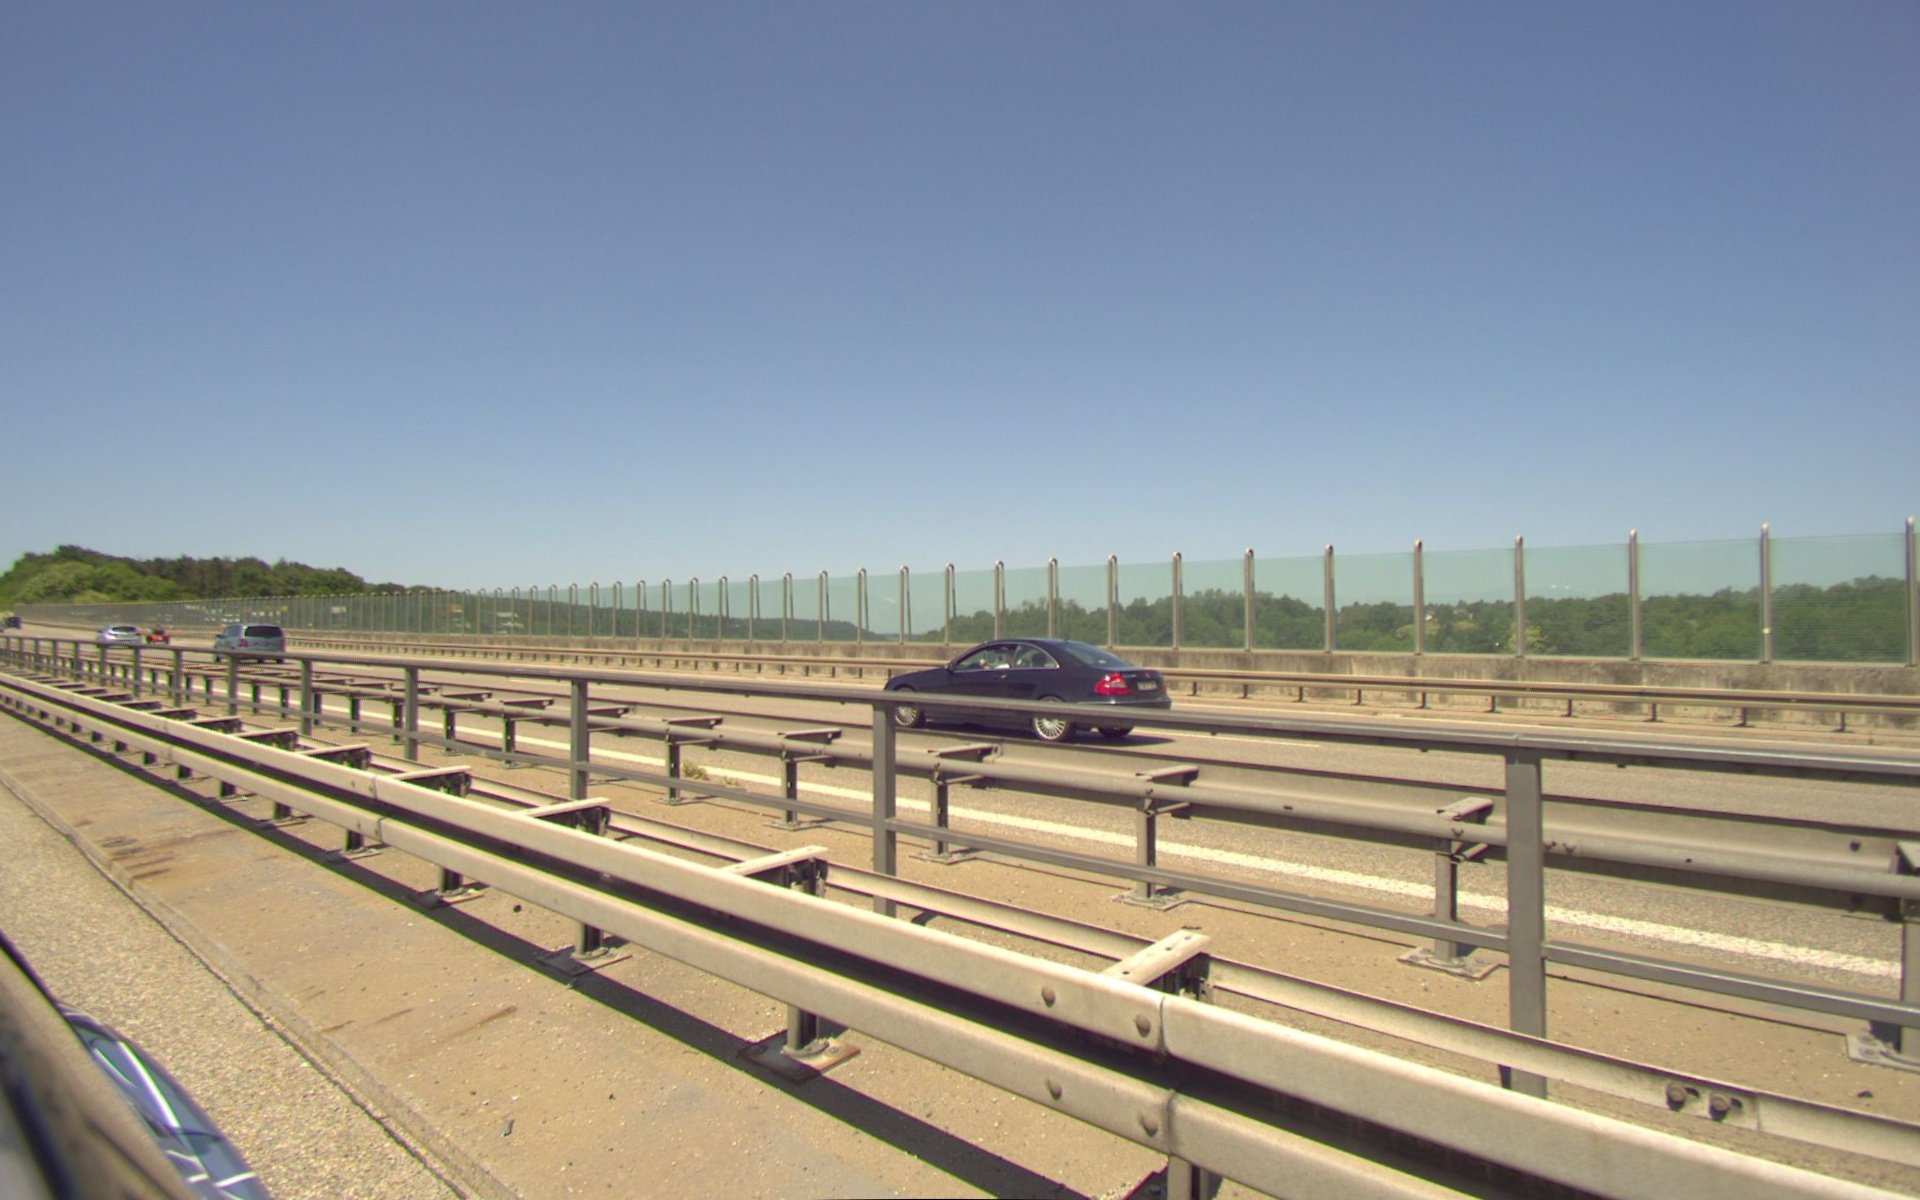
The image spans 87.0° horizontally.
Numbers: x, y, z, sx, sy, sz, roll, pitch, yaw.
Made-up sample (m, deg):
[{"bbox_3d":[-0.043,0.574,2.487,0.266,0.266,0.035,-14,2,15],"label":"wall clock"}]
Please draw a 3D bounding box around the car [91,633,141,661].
[{"bbox_3d":[-51.302,2.834,61.518,4.122,1.501,1.713,-1,0,41],"label":"car"}]

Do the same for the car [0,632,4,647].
[{"bbox_3d":[-112.562,4.565,117.575,3.998,1.667,1.797,-1,0,41],"label":"car"}]

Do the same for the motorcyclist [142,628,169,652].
[{"bbox_3d":[-59.095,2.905,74.355,1.132,1.698,1.362,-1,0,40],"label":"motorcyclist"}]

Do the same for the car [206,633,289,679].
[{"bbox_3d":[-28.922,2.227,41.035,4.153,1.715,1.763,-1,-3,41],"label":"car"}]

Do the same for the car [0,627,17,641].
[{"bbox_3d":[-135.621,4.831,143.917,3.998,1.849,1.797,-1,0,41],"label":"car"}]

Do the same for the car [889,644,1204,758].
[{"bbox_3d":[1.121,1.330,14.403,4.268,1.330,1.742,-1,-3,41],"label":"car"}]

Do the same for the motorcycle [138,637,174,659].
[{"bbox_3d":[-59.033,3.519,74.309,3.380,1.488,1.471,-1,-1,40],"label":"motorcycle"}]
